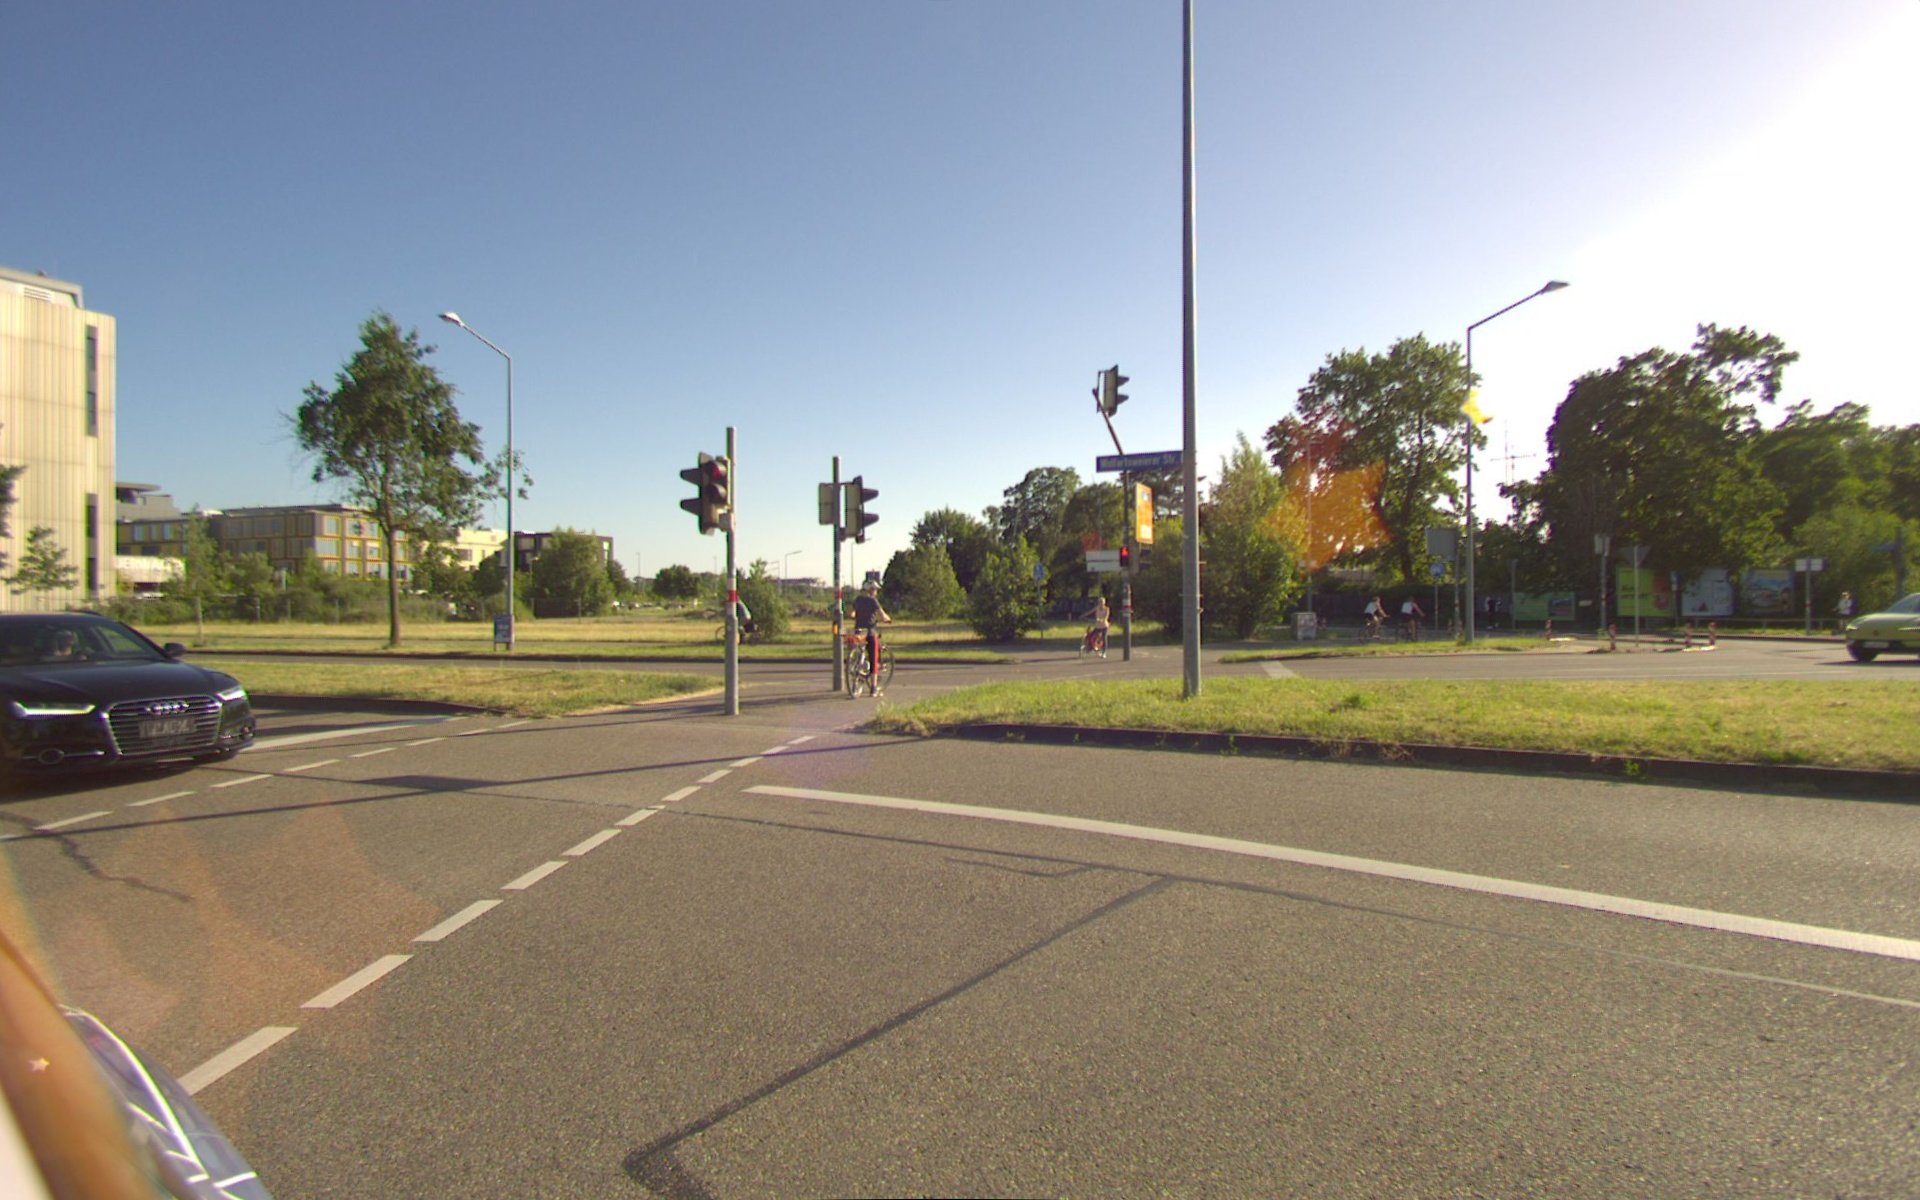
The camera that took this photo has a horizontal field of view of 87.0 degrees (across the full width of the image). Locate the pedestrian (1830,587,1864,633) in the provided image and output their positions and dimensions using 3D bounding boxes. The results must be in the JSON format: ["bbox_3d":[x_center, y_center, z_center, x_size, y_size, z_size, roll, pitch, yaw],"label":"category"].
[{"bbox_3d":[39.483,0.449,45.065,0.931,2.021,0.588,-1,-1,2],"label":"pedestrian"}]

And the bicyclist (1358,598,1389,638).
[{"bbox_3d":[14.554,0.626,35.622,0.823,1.403,0.619,0,-1,-29],"label":"bicyclist"}]

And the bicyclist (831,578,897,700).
[{"bbox_3d":[-1.357,0.528,14.417,0.697,1.676,0.939,0,0,11],"label":"bicyclist"}]

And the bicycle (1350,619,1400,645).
[{"bbox_3d":[14.612,1.127,35.646,1.856,0.859,0.619,0,-1,-30],"label":"bicycle"}]

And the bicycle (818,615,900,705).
[{"bbox_3d":[-1.386,0.801,14.220,0.697,1.137,1.650,0,1,11],"label":"bicycle"}]

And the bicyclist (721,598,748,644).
[{"bbox_3d":[-7.891,0.736,35.426,0.847,1.576,0.429,-1,-1,25],"label":"bicyclist"}]

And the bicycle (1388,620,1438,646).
[{"bbox_3d":[15.787,1.143,35.246,1.856,0.859,0.619,0,-1,-30],"label":"bicycle"}]

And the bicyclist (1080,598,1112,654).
[{"bbox_3d":[3.848,0.726,28.609,0.614,1.528,0.917,-1,-1,27],"label":"bicyclist"}]

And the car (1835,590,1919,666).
[{"bbox_3d":[21.766,0.566,22.014,4.252,1.553,2.015,-1,0,-14],"label":"car"}]

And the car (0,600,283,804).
[{"bbox_3d":[-8.618,0.785,9.224,4.989,1.454,1.783,-1,0,26],"label":"car"}]

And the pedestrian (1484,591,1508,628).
[{"bbox_3d":[29.758,0.547,56.219,0.886,2.029,0.821,1,0,-27],"label":"pedestrian"}]

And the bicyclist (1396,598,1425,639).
[{"bbox_3d":[15.658,0.639,35.195,0.707,1.403,0.619,0,-1,-29],"label":"bicyclist"}]

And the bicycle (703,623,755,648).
[{"bbox_3d":[-8.116,1.246,35.517,1.878,0.859,0.487,-1,-1,25],"label":"bicycle"}]

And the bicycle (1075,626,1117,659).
[{"bbox_3d":[3.872,1.194,28.653,0.614,0.859,1.872,-1,-1,27],"label":"bicycle"}]
